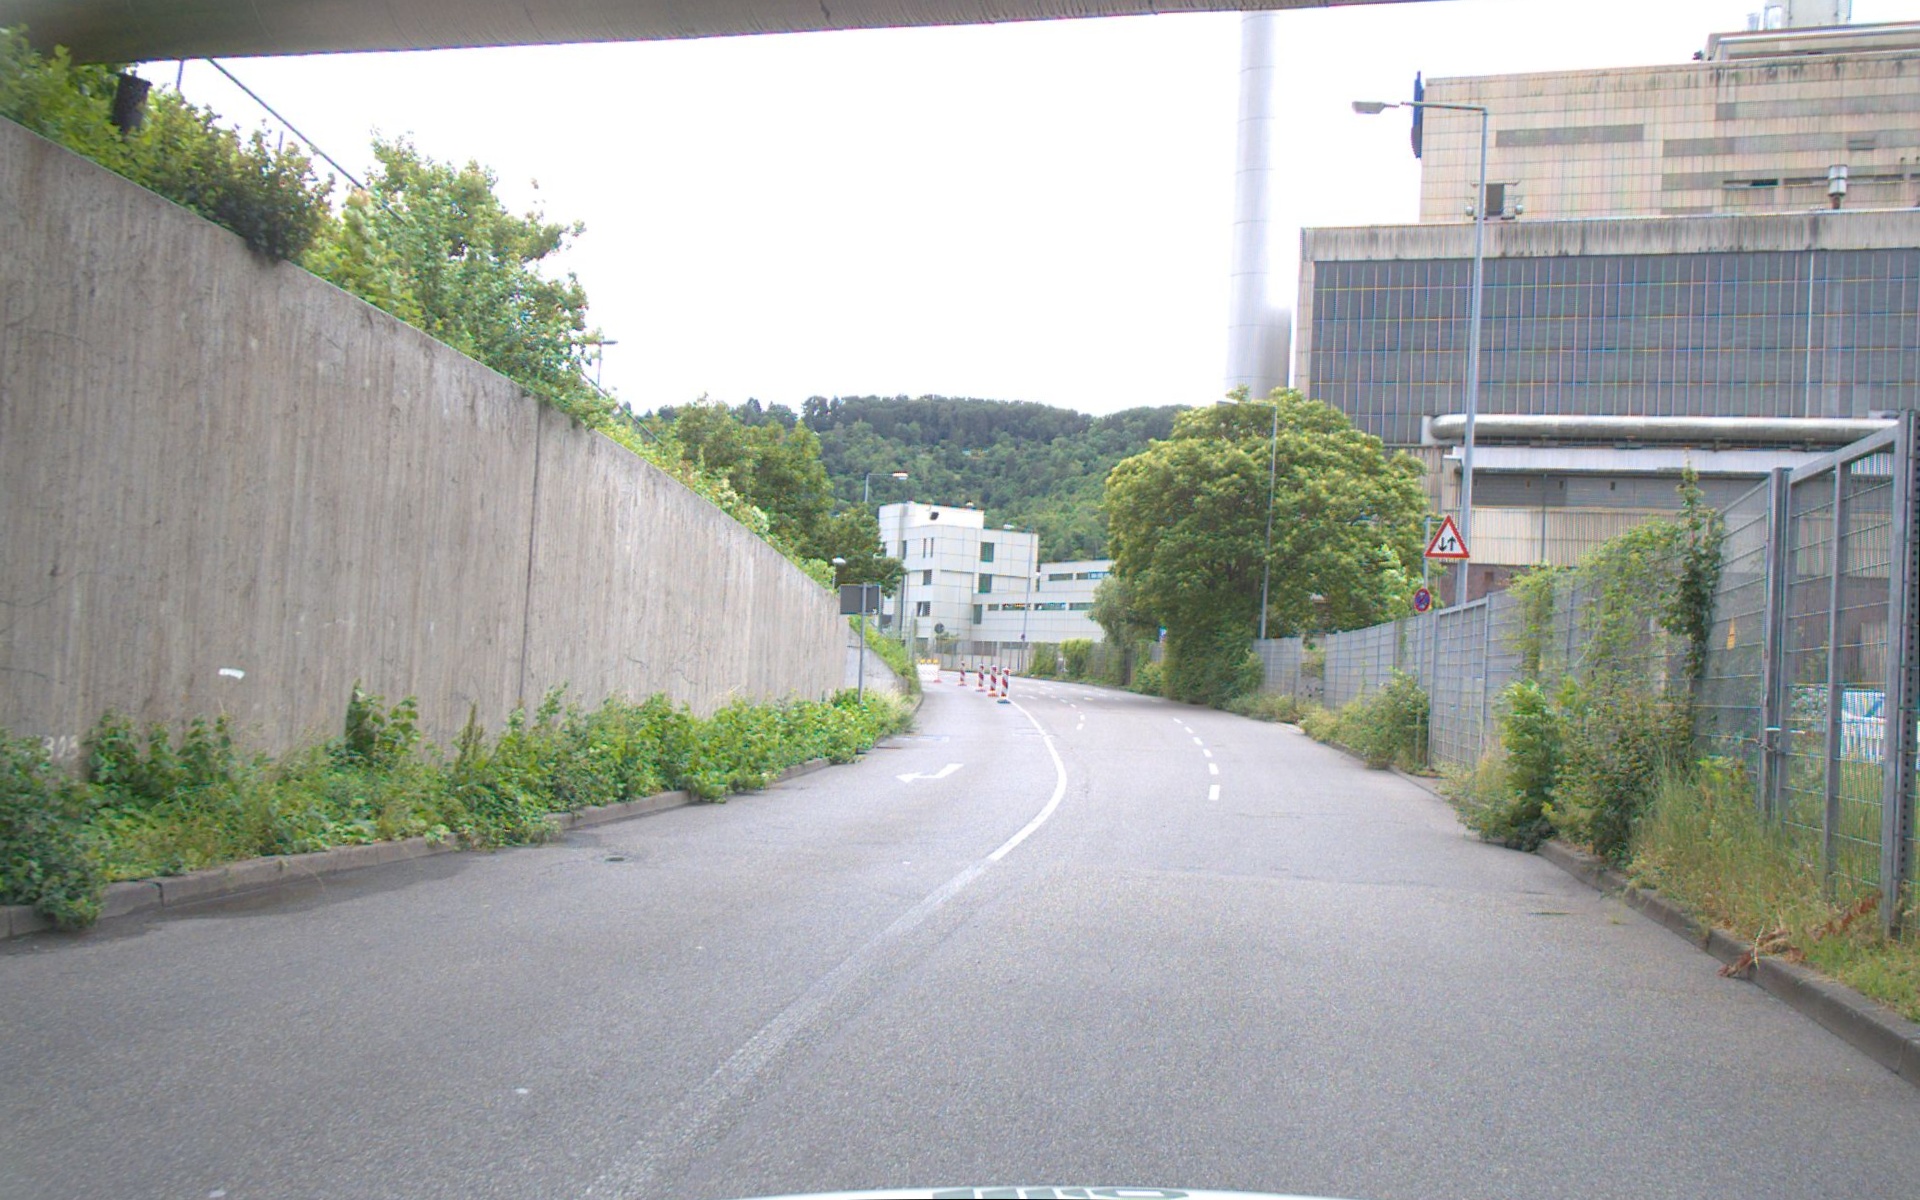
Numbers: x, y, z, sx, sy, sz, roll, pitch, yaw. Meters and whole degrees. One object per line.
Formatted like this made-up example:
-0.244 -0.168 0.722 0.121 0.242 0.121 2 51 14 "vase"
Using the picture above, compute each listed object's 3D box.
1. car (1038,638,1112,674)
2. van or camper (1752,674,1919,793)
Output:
9.370 4.585 135.075 1.985 2.301 6.071 7 -1 -45 "car"
40.770 5.818 70.236 11.569 4.611 5.483 3 -4 -2 "van or camper"
